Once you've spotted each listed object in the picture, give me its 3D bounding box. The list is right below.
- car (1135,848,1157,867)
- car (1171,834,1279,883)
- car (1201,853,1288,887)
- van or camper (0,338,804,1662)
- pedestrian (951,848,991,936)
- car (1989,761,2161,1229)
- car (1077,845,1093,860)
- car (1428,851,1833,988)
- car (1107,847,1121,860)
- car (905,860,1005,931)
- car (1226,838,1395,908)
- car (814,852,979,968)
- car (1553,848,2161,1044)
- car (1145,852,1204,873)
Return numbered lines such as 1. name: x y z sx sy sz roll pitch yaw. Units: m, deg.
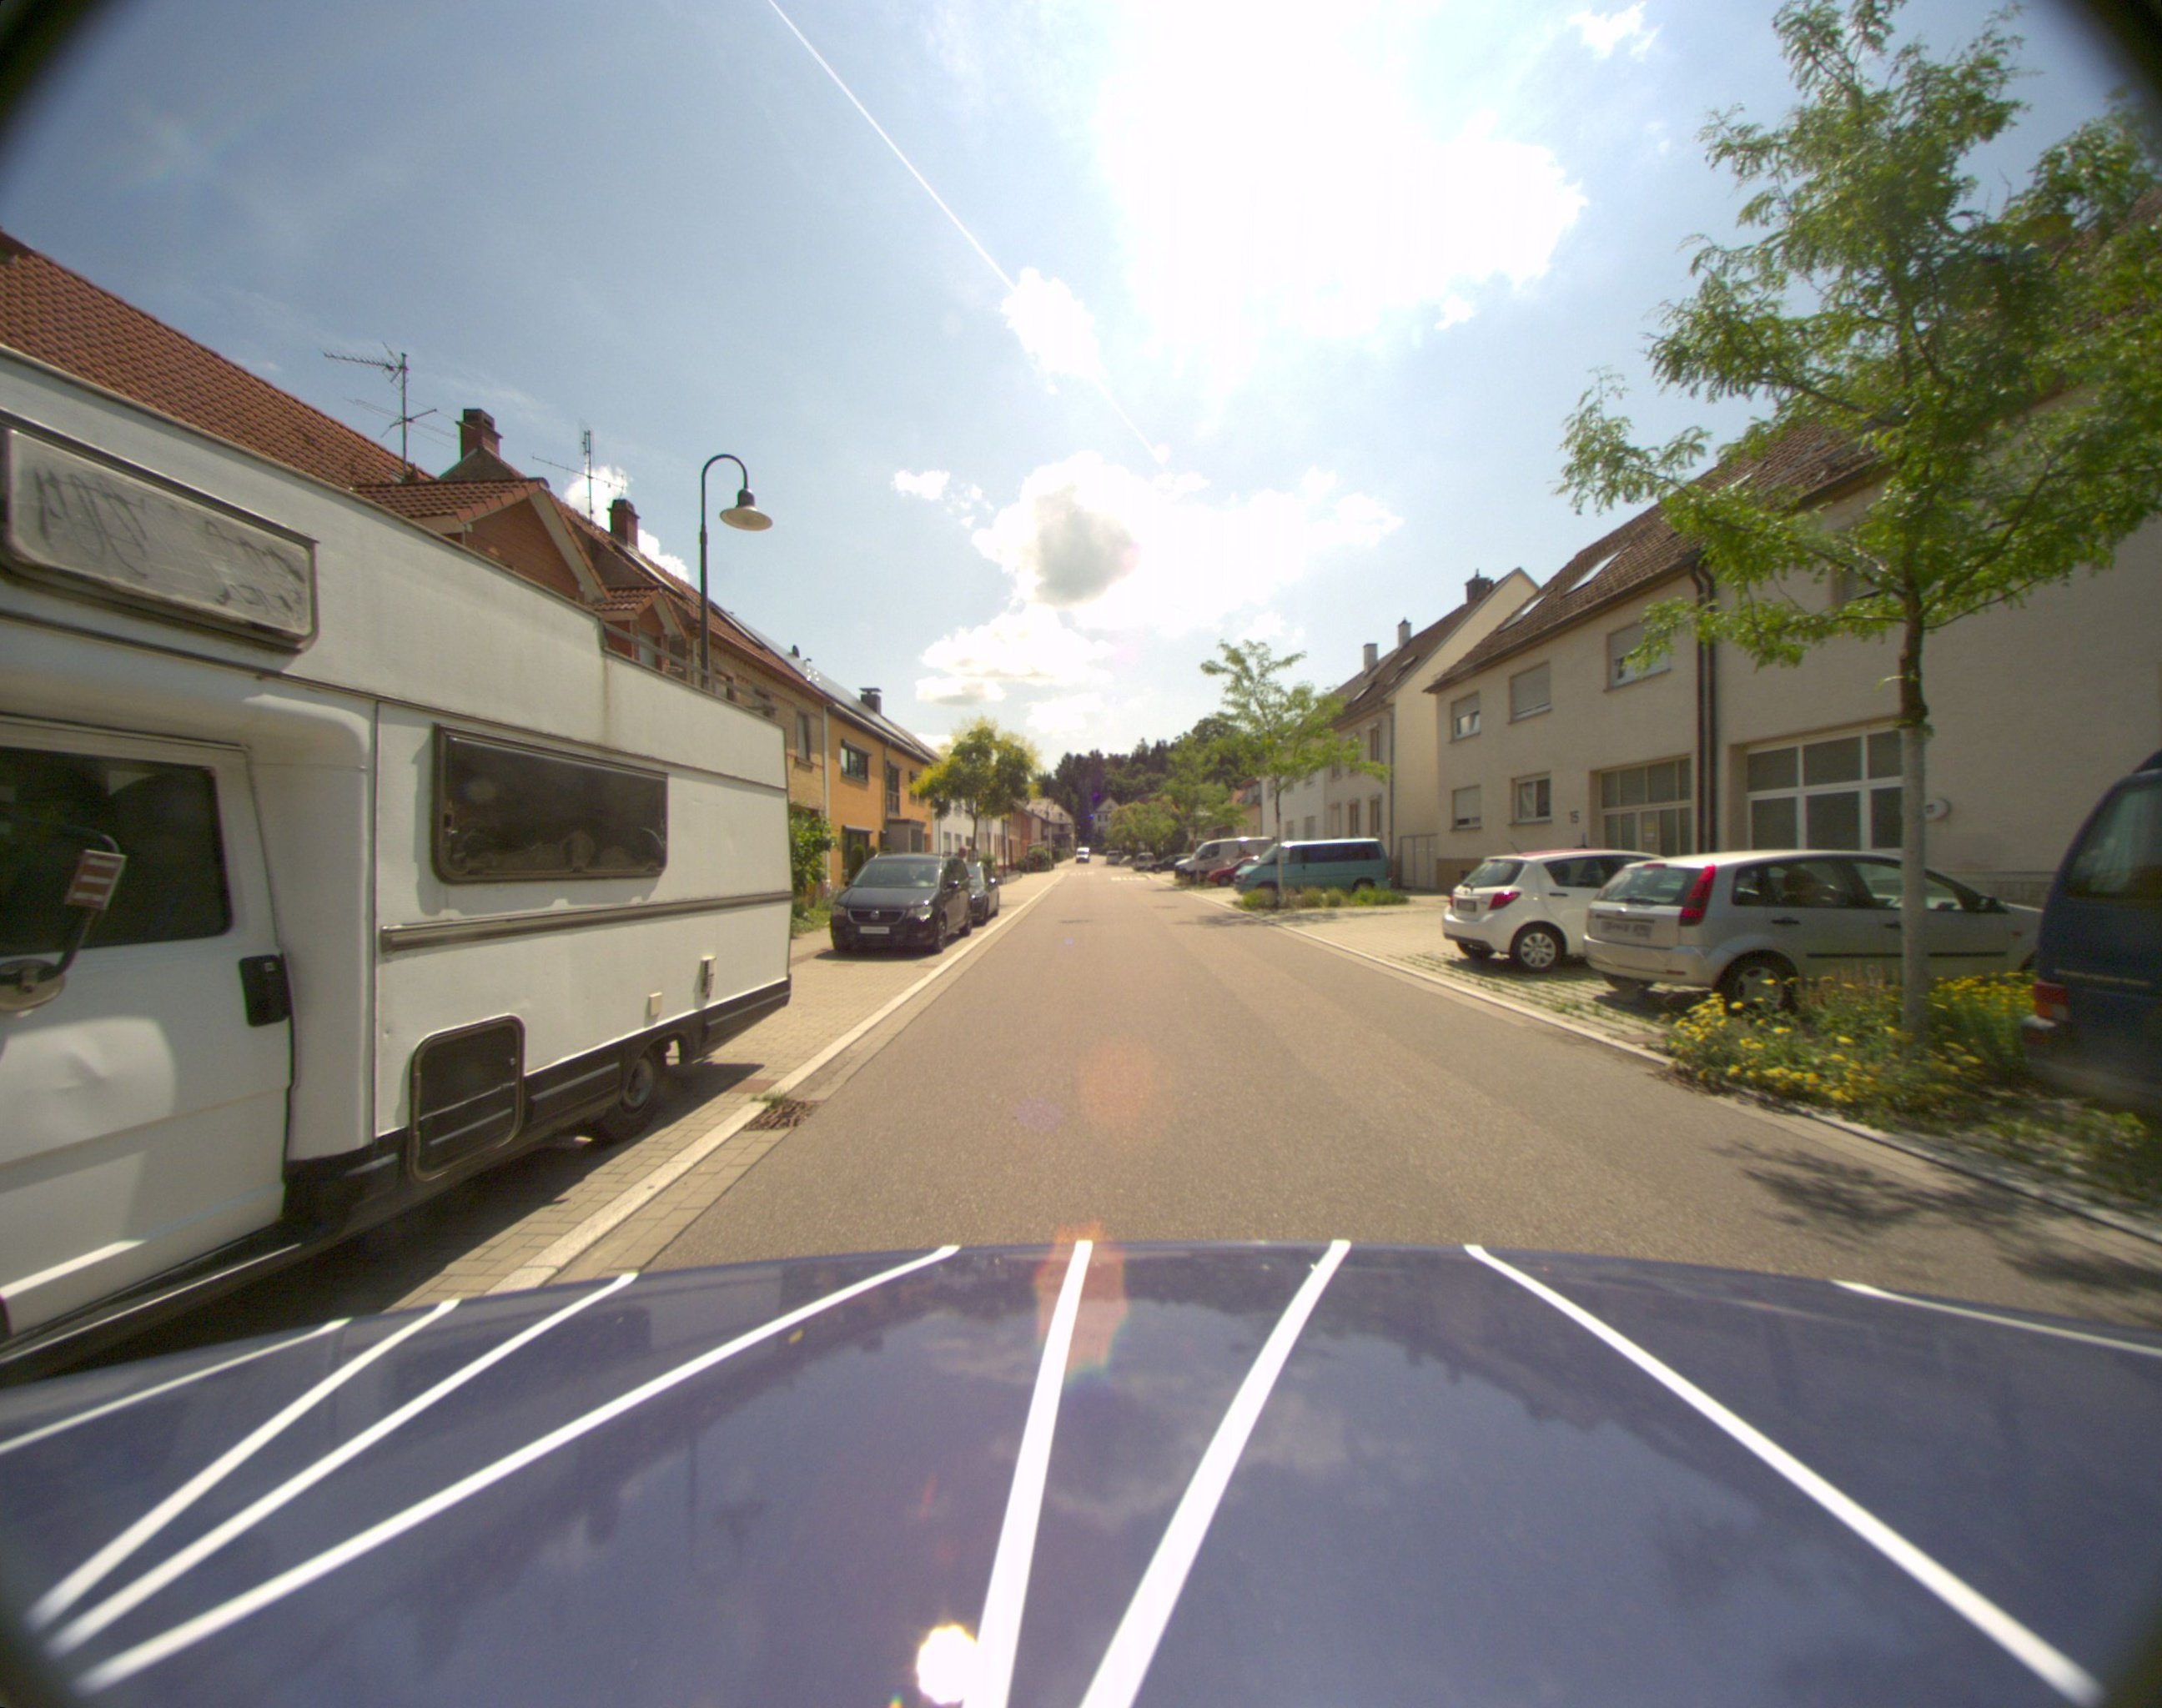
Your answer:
1. car: 6.316 0.386 73.966 1.844 1.737 4.687 -3 -1 2
2. car: 7.574 0.224 40.260 5.180 2.275 2.157 -3 1 -1
3. car: 7.797 0.765 36.539 3.792 1.377 1.725 -3 1 1
4. van or camper: -3.500 0.313 3.205 2.479 2.793 5.790 0 0 1
5. pedestrian: -2.357 0.807 16.348 0.718 1.842 0.578 -2 1 1
6. car: 6.842 0.512 2.735 4.624 1.985 1.953 -2 1 3
7. car: 0.725 -0.280 125.420 2.489 2.306 5.599 -3 1 0
8. car: 6.902 0.778 9.899 3.925 1.480 1.773 -2 0 3
9. car: 5.128 -0.126 118.301 1.998 1.968 3.999 -1 1 0
10. car: -2.986 0.929 18.842 1.771 1.480 4.295 -2 0 -1
11. car: 7.110 0.566 23.931 4.688 1.896 2.000 -3 1 1
12. car: -3.070 0.844 13.627 1.771 1.695 4.325 -2 0 1
13. car: 6.970 0.761 7.129 3.925 1.480 1.773 -2 0 3
14. car: 7.612 0.677 62.020 4.598 1.508 1.901 -2 0 1
